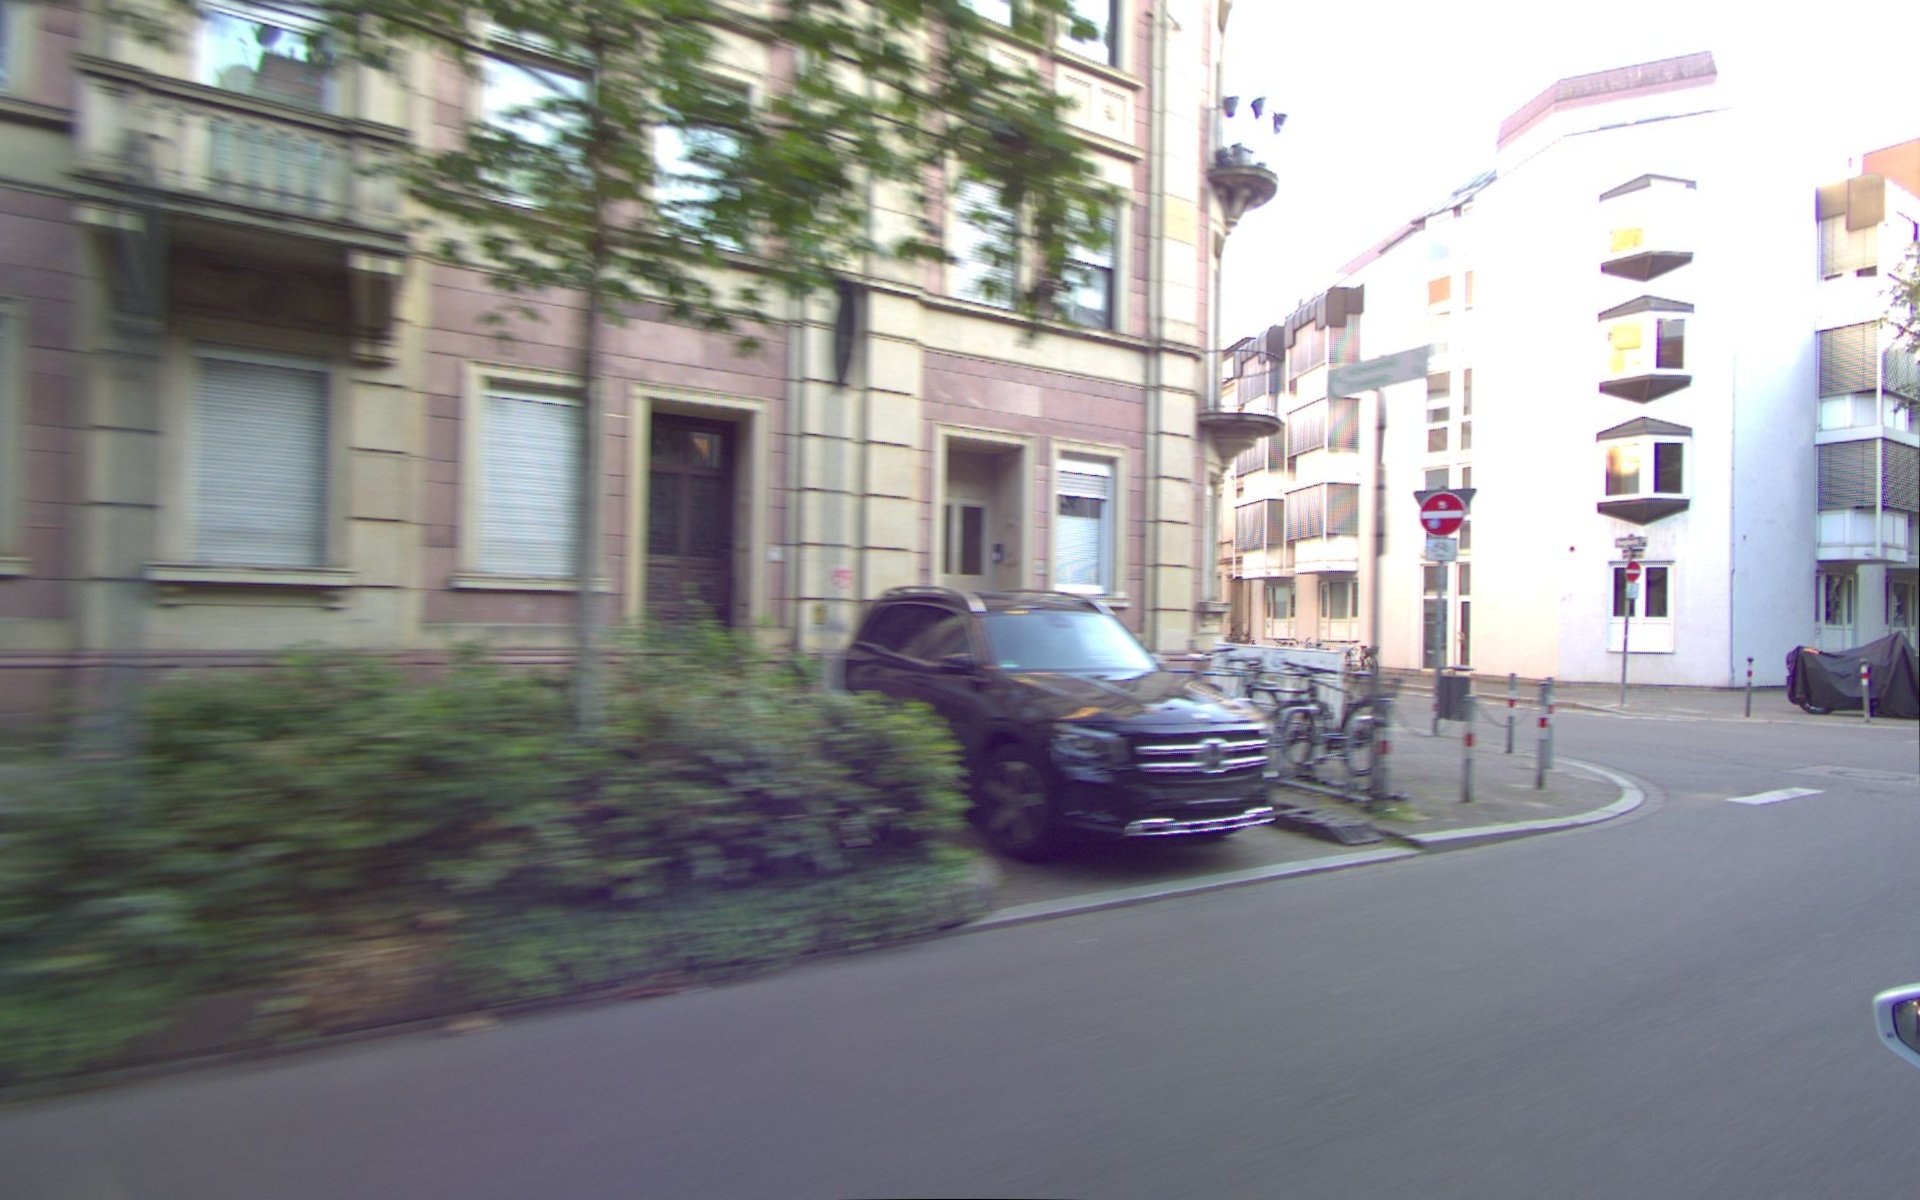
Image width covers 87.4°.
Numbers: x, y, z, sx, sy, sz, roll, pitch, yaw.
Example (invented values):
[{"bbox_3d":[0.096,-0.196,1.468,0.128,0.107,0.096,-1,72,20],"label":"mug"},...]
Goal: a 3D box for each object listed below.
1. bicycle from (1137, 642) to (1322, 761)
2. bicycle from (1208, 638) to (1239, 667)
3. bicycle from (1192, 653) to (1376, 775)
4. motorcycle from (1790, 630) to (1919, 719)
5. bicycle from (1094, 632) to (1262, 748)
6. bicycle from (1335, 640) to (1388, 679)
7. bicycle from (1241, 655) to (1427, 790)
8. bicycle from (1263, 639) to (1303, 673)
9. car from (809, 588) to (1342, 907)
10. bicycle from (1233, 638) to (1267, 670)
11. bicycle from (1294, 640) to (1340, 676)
[{"bbox_3d":[2.758,1.018,10.203,1.841,1.076,0.665,4,1,-31],"label":"bicycle"},{"bbox_3d":[10.442,2.079,39.873,0.604,1.122,1.799,-1,-2,-4],"label":"bicycle"},{"bbox_3d":[3.101,1.071,9.545,1.841,1.032,0.519,4,1,-31],"label":"bicycle"},{"bbox_3d":[16.487,1.325,18.222,2.183,1.501,0.855,0,0,42],"label":"motorcycle"},{"bbox_3d":[2.351,0.960,10.740,1.841,1.122,0.514,4,1,-31],"label":"bicycle"},{"bbox_3d":[12.101,1.787,30.308,0.573,1.122,1.796,0,-2,-12],"label":"bicycle"},{"bbox_3d":[3.397,1.079,9.048,1.842,1.073,0.519,4,1,-33],"label":"bicycle"},{"bbox_3d":[11.249,1.928,35.028,0.628,1.122,1.798,-1,-2,-6],"label":"bicycle"},{"bbox_3d":[0.497,0.777,7.727,1.850,1.673,4.406,1,1,-29],"label":"car"},{"bbox_3d":[10.810,2.003,37.463,0.574,1.122,1.798,-1,-2,-6],"label":"bicycle"},{"bbox_3d":[11.487,1.852,32.372,0.491,1.122,1.796,0,-2,-12],"label":"bicycle"}]
